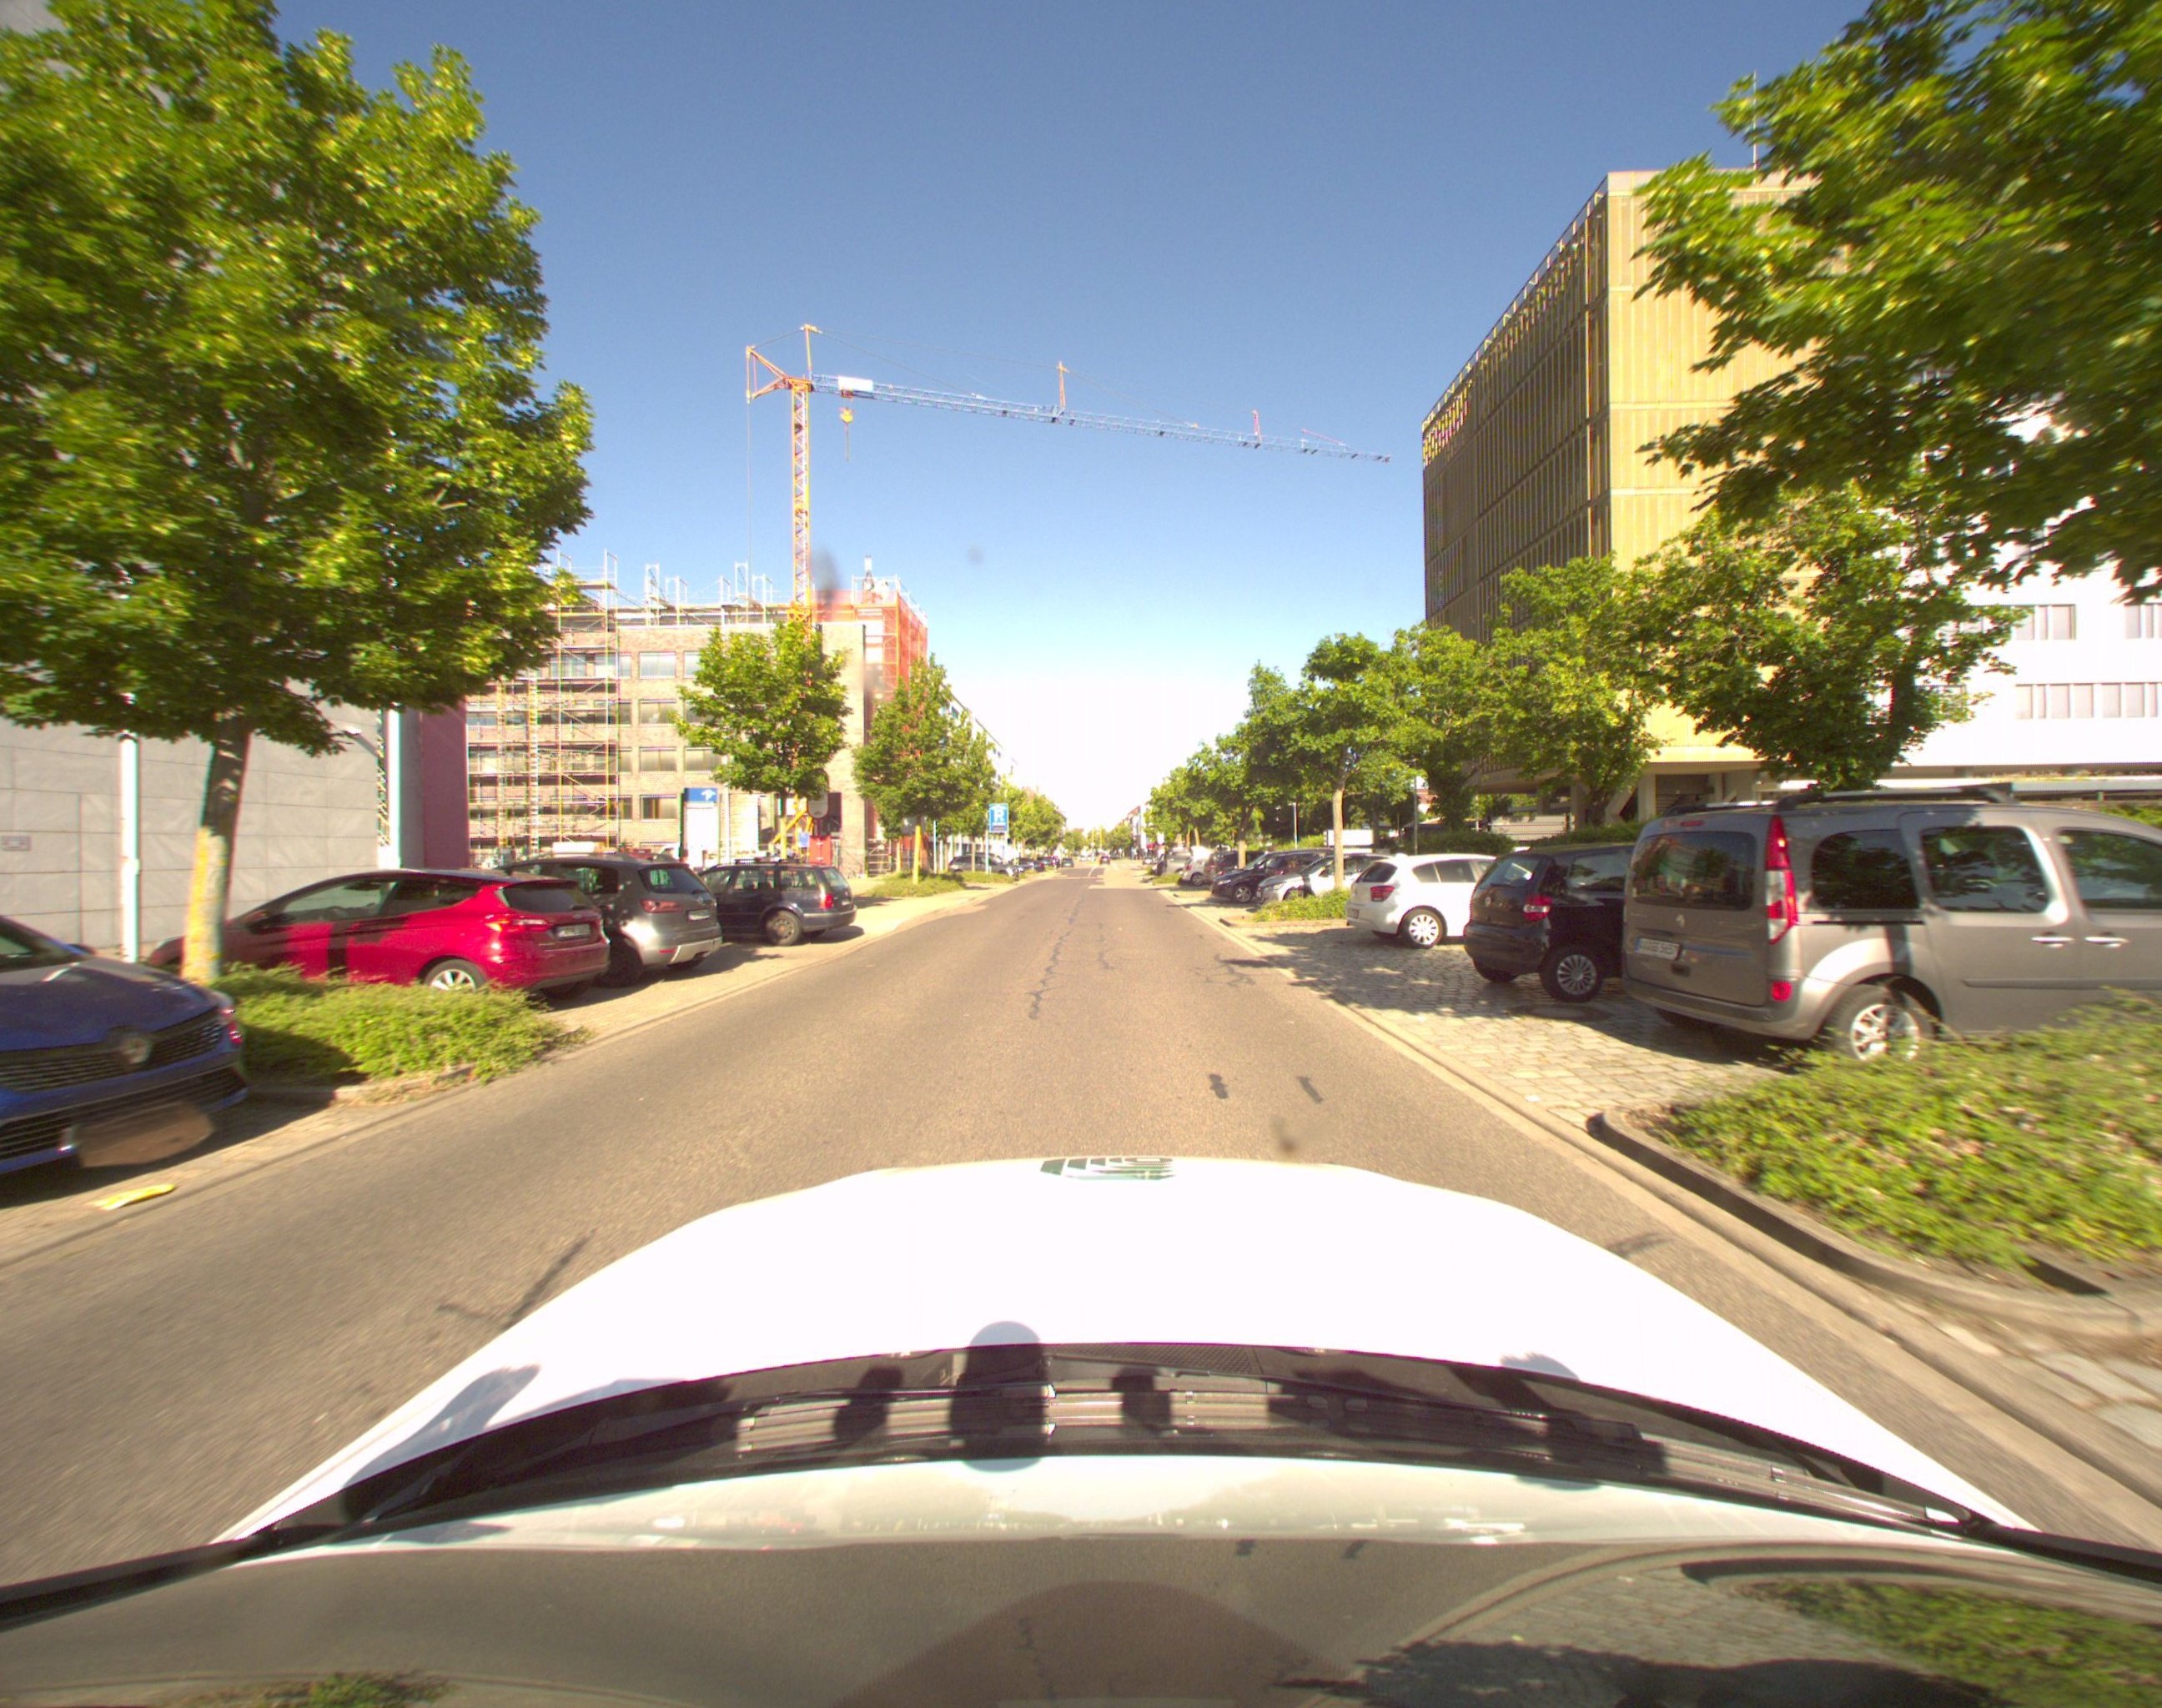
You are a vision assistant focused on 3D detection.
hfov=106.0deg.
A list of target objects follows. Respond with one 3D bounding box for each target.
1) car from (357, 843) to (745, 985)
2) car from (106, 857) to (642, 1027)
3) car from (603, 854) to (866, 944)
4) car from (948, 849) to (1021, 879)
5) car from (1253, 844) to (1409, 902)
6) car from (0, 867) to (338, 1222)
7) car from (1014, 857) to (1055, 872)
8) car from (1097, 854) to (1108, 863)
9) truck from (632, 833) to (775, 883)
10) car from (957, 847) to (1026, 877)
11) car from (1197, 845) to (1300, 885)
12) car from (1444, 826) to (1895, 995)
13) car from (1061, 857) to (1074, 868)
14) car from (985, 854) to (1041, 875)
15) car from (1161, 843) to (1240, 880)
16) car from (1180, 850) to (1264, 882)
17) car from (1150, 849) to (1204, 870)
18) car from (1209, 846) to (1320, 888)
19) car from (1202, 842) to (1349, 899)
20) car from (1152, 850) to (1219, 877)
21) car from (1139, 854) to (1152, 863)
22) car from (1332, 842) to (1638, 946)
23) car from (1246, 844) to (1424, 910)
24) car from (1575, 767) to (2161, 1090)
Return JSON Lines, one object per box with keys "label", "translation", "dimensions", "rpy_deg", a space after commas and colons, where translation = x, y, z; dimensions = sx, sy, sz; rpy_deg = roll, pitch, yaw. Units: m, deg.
{"label": "car", "translation": [-6.872, 0.720, 10.840], "dimensions": [3.969, 1.664, 1.830], "rpy_deg": [1, 0, 4]}
{"label": "car", "translation": [-7.086, 0.826, 8.491], "dimensions": [3.971, 1.517, 1.856], "rpy_deg": [-1, 0, 2]}
{"label": "car", "translation": [-6.352, 0.803, 15.311], "dimensions": [4.119, 1.492, 1.868], "rpy_deg": [1, 1, -2]}
{"label": "car", "translation": [-5.877, 0.596, 49.956], "dimensions": [4.247, 1.665, 1.599], "rpy_deg": [-1, 1, 0]}
{"label": "car", "translation": [6.954, 0.509, 22.904], "dimensions": [3.851, 1.504, 1.651], "rpy_deg": [-1, 0, -1]}
{"label": "car", "translation": [-6.541, 0.821, 4.146], "dimensions": [3.916, 1.485, 1.787], "rpy_deg": [0, 0, 2]}
{"label": "car", "translation": [-5.121, 1.176, 89.762], "dimensions": [4.316, 1.474, 1.818], "rpy_deg": [-1, 1, 0]}
{"label": "car", "translation": [3.865, 0.743, 143.856], "dimensions": [1.804, 1.474, 4.113], "rpy_deg": [-1, 1, 2]}
{"label": "truck", "translation": [-20.878, 0.196, 45.268], "dimensions": [6.829, 2.547, 2.282], "rpy_deg": [-1, 1, 3]}
{"label": "car", "translation": [-5.947, 0.536, 54.562], "dimensions": [4.313, 1.861, 1.819], "rpy_deg": [-1, 1, 3]}
{"label": "car", "translation": [7.063, 0.455, 34.659], "dimensions": [3.972, 1.582, 2.032], "rpy_deg": [-1, -1, 1]}
{"label": "car", "translation": [6.036, 0.520, 8.657], "dimensions": [3.595, 1.549, 1.706], "rpy_deg": [-1, 1, -1]}
{"label": "car", "translation": [-1.911, 1.194, 117.151], "dimensions": [1.805, 1.474, 4.111], "rpy_deg": [-1, 1, 0]}
{"label": "car", "translation": [-5.351, 0.819, 64.939], "dimensions": [4.320, 1.474, 1.816], "rpy_deg": [-1, 1, -2]}
{"label": "car", "translation": [6.333, 0.382, 43.476], "dimensions": [3.972, 1.879, 1.683], "rpy_deg": [-1, 1, 1]}
{"label": "car", "translation": [6.806, 0.560, 39.507], "dimensions": [3.752, 1.459, 1.818], "rpy_deg": [-1, -1, 1]}
{"label": "car", "translation": [7.163, 0.441, 60.761], "dimensions": [3.894, 1.475, 1.760], "rpy_deg": [-1, -2, 5]}
{"label": "car", "translation": [7.156, 0.507, 32.004], "dimensions": [3.972, 1.538, 1.862], "rpy_deg": [-1, -1, 1]}
{"label": "car", "translation": [5.973, 0.504, 25.333], "dimensions": [4.131, 1.580, 1.741], "rpy_deg": [-2, 0, 0]}
{"label": "car", "translation": [6.288, 0.574, 49.277], "dimensions": [3.894, 1.474, 1.798], "rpy_deg": [-1, 1, 5]}
{"label": "car", "translation": [11.718, 0.875, 147.751], "dimensions": [1.983, 1.474, 4.109], "rpy_deg": [-1, 1, -1]}
{"label": "car", "translation": [6.346, 0.612, 13.160], "dimensions": [4.045, 1.426, 1.743], "rpy_deg": [-2, -1, 2]}
{"label": "car", "translation": [6.233, 0.540, 20.277], "dimensions": [3.887, 1.486, 1.743], "rpy_deg": [-1, 0, 0]}
{"label": "car", "translation": [6.279, 0.413, 5.996], "dimensions": [4.106, 1.927, 1.978], "rpy_deg": [-1, 1, -1]}
